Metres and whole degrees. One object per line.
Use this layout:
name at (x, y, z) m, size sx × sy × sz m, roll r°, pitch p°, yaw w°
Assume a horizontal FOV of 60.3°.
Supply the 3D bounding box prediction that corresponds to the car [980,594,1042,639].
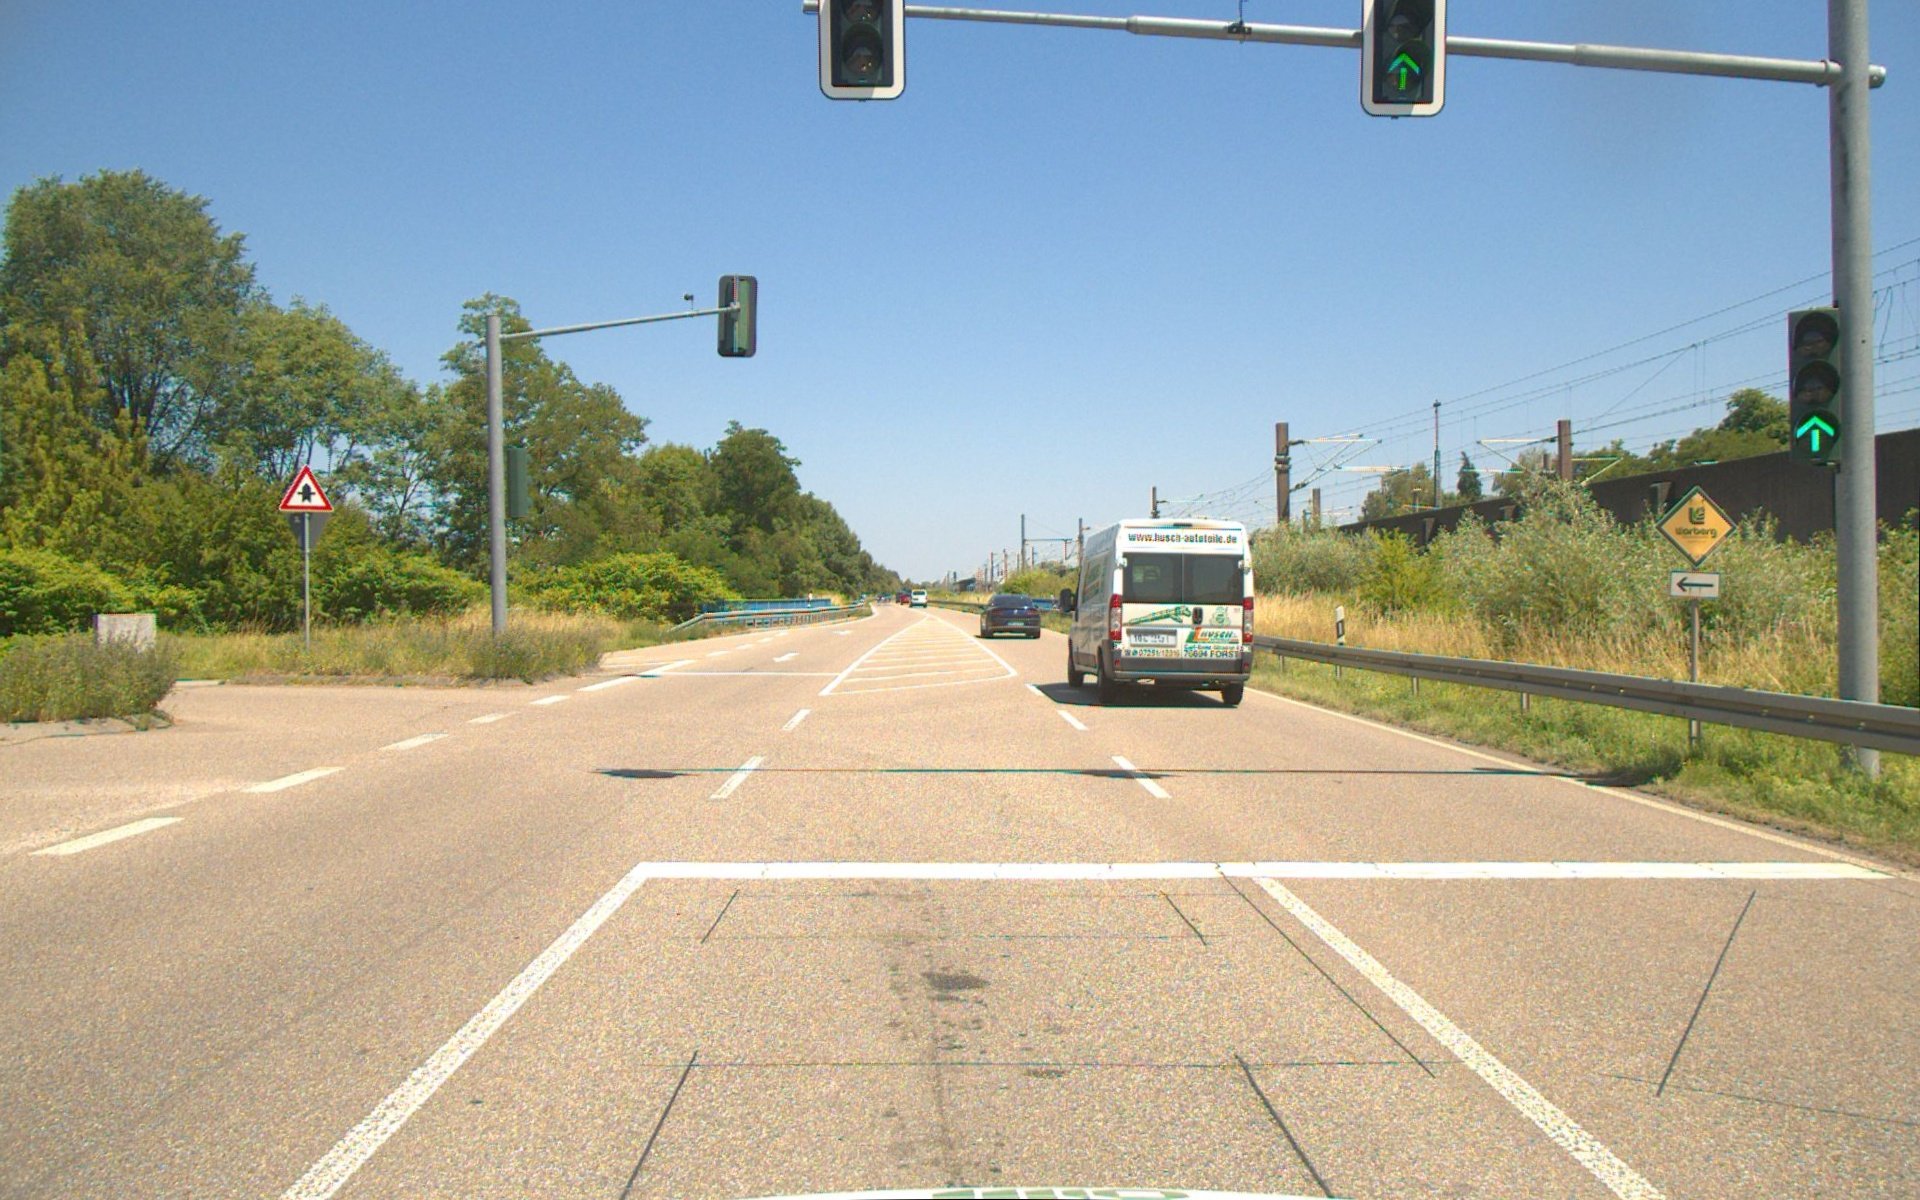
car at (1.662, 0.513, 55.083) m, size 1.819 × 1.404 × 4.502 m, roll 1°, pitch 0°, yaw -1°

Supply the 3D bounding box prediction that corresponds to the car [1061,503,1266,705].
car at (2.900, 0.027, 25.246) m, size 2.144 × 2.649 × 6.749 m, roll 1°, pitch 0°, yaw -1°

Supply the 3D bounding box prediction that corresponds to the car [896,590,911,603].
car at (-7.978, -0.464, 234.264) m, size 1.979 × 1.756 × 4.540 m, roll 0°, pitch 0°, yaw -3°

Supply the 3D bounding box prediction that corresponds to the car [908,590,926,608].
car at (-4.791, -0.110, 183.202) m, size 1.953 × 2.018 × 4.058 m, roll 1°, pitch 0°, yaw -2°
